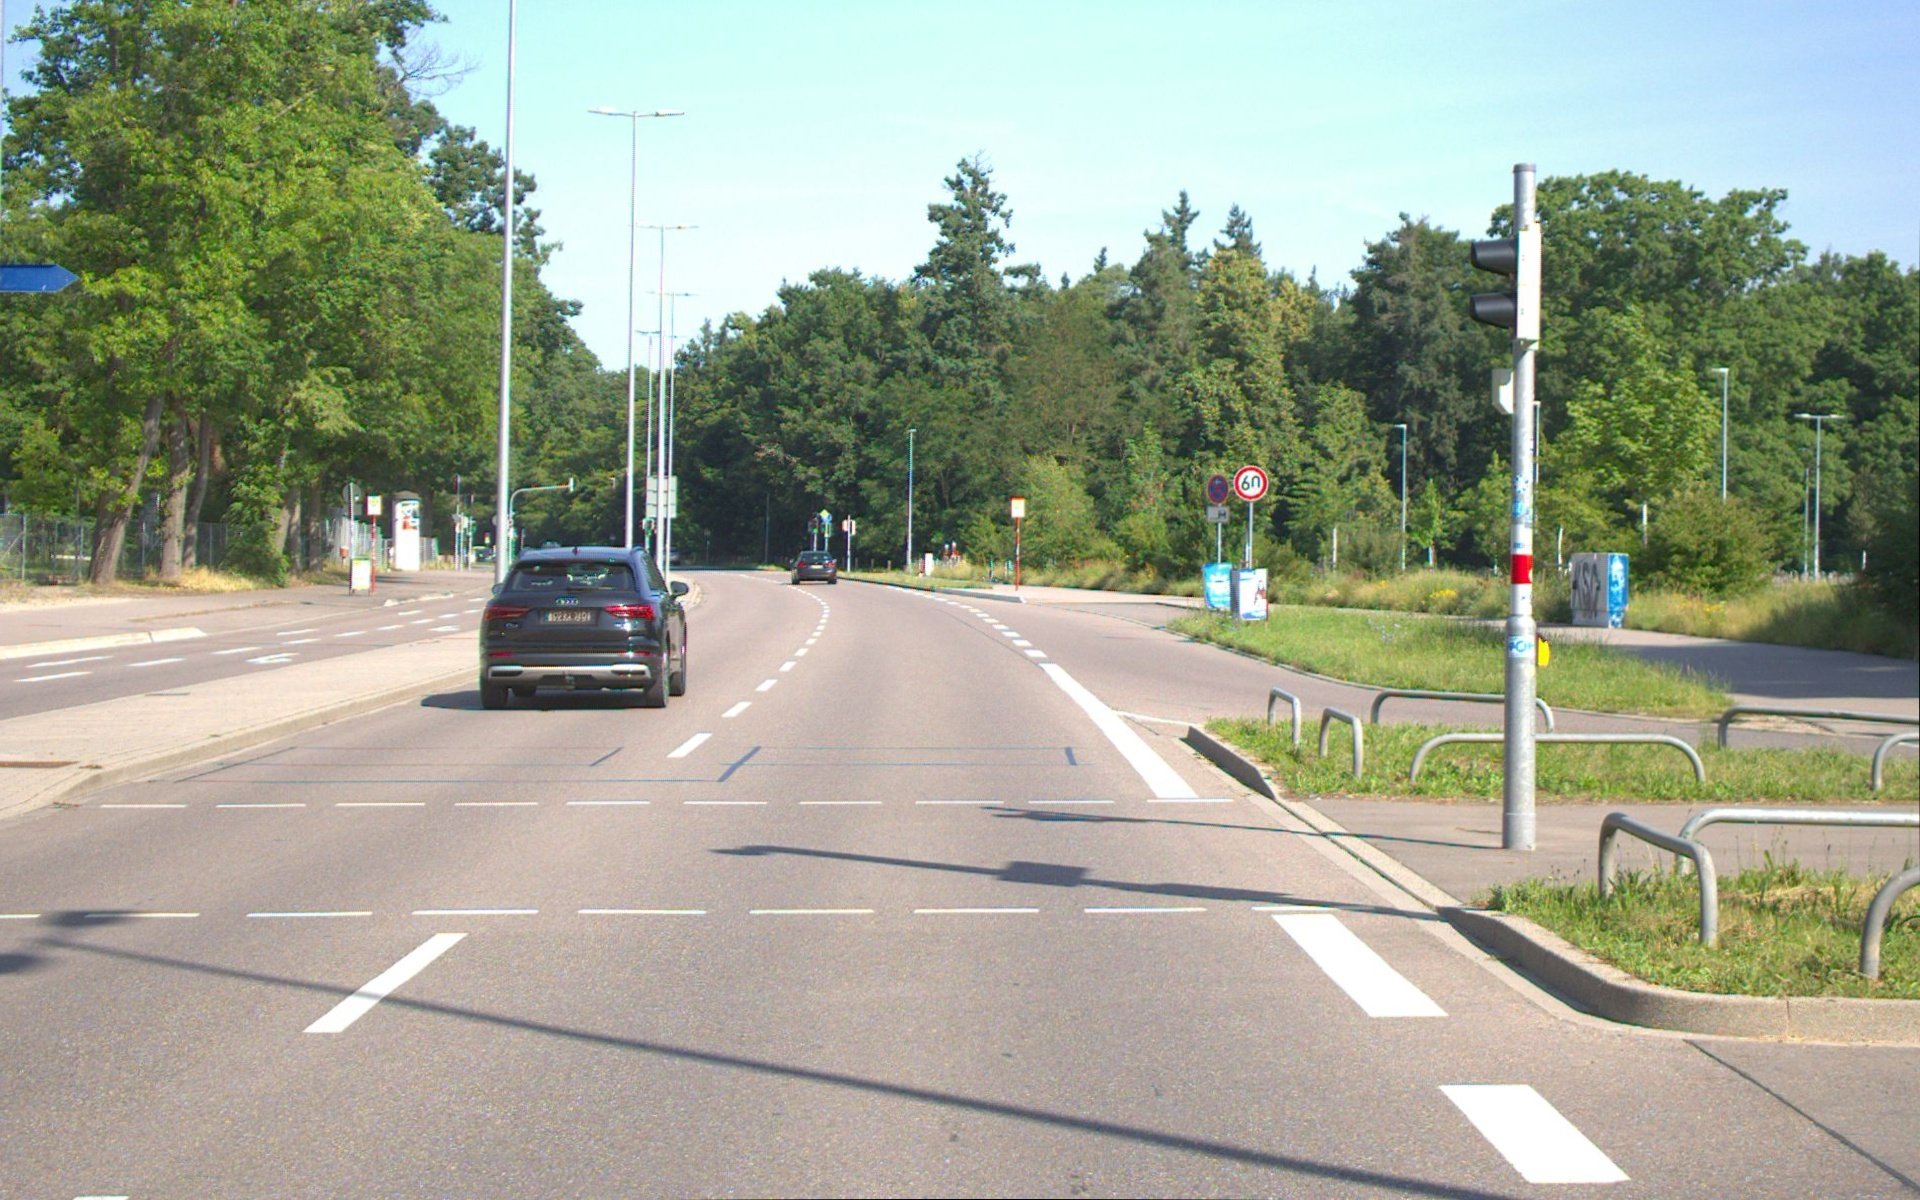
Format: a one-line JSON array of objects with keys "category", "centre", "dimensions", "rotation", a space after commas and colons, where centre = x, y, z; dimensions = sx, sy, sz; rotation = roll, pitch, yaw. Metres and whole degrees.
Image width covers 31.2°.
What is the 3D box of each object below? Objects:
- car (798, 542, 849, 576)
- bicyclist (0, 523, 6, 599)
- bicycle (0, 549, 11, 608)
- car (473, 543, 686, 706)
[{"category": "car", "centre": [-5.804, -1.748, 146.095], "dimensions": [1.940, 1.415, 4.294], "rotation": [1, 1, -5]}, {"category": "bicyclist", "centre": [-18.843, -0.765, 66.104], "dimensions": [0.659, 1.462, 1.057], "rotation": [2, 1, -1]}, {"category": "bicycle", "centre": [-18.872, -0.412, 66.211], "dimensions": [0.659, 1.132, 1.879], "rotation": [2, 1, -1]}, {"category": "car", "centre": [-3.763, 0.198, 34.559], "dimensions": [1.688, 1.539, 4.149], "rotation": [0, 1, 0]}]
